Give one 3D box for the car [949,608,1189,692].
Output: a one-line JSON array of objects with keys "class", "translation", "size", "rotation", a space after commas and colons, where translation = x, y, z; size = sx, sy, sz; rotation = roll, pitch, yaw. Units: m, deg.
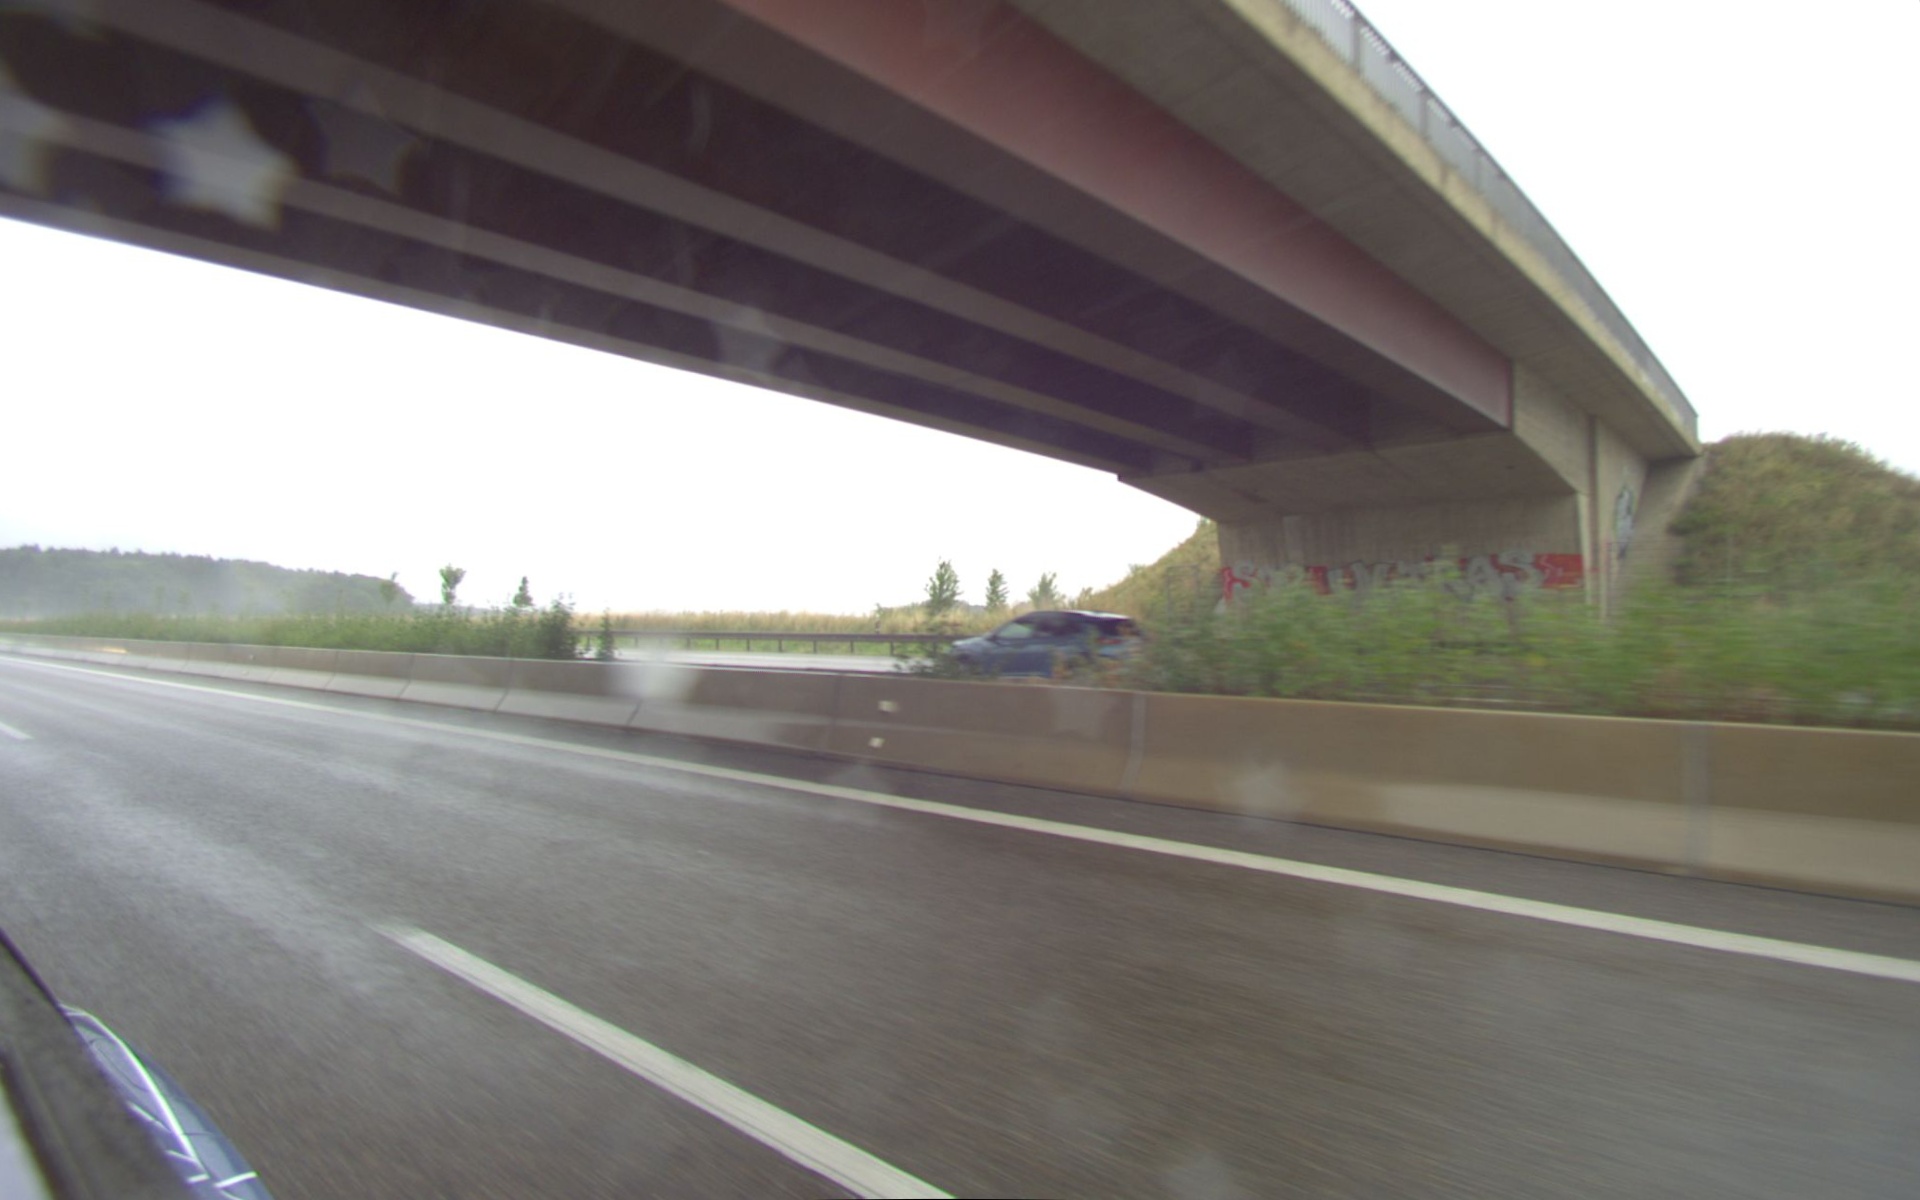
[{"class": "car", "translation": [1.899, 0.849, 18.330], "size": [3.998, 1.342, 1.859], "rotation": [-1, -1, 42]}]
